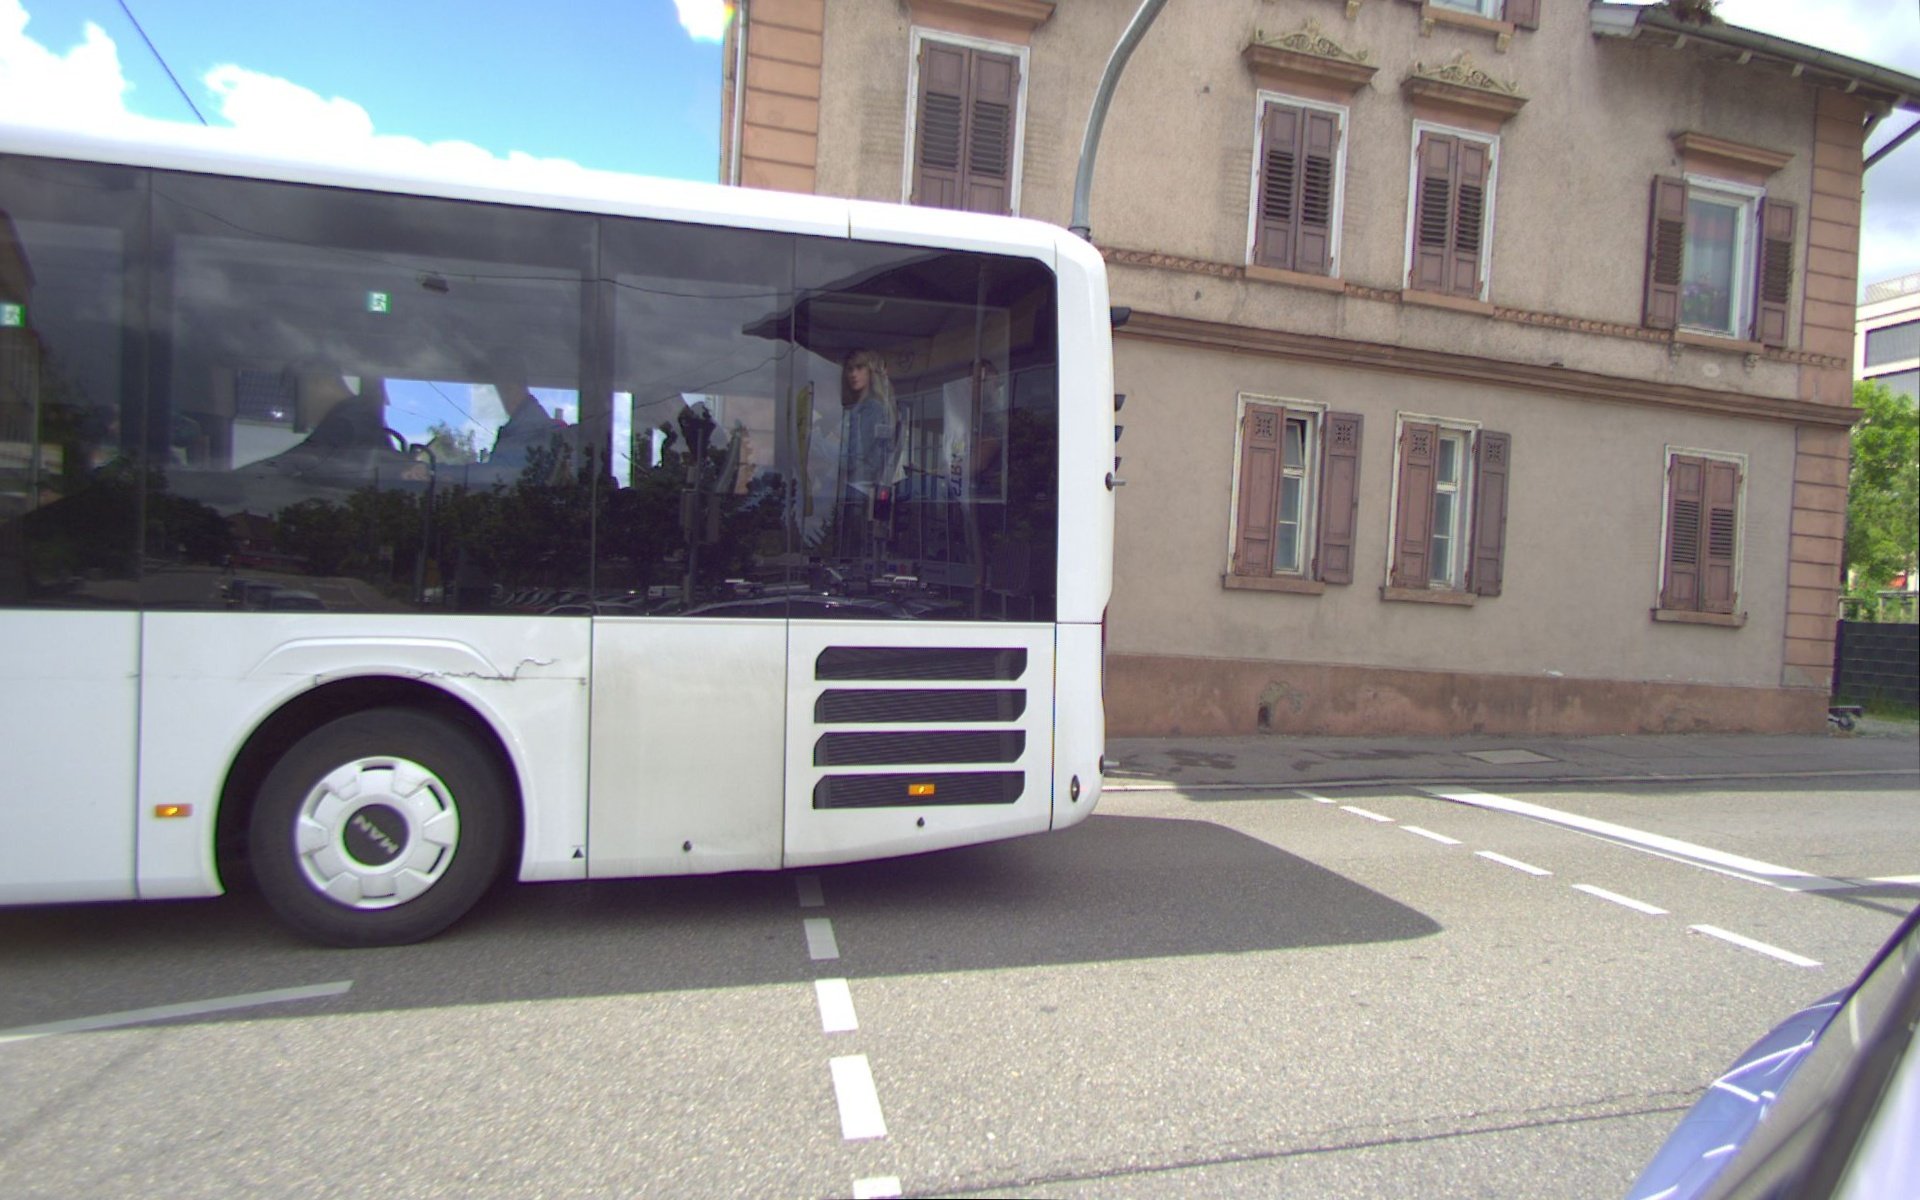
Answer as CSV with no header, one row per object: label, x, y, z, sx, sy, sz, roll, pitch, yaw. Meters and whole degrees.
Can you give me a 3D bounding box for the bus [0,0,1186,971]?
bus,-5.230,-0.410,4.641,12.165,3.431,2.975,0,0,-14
